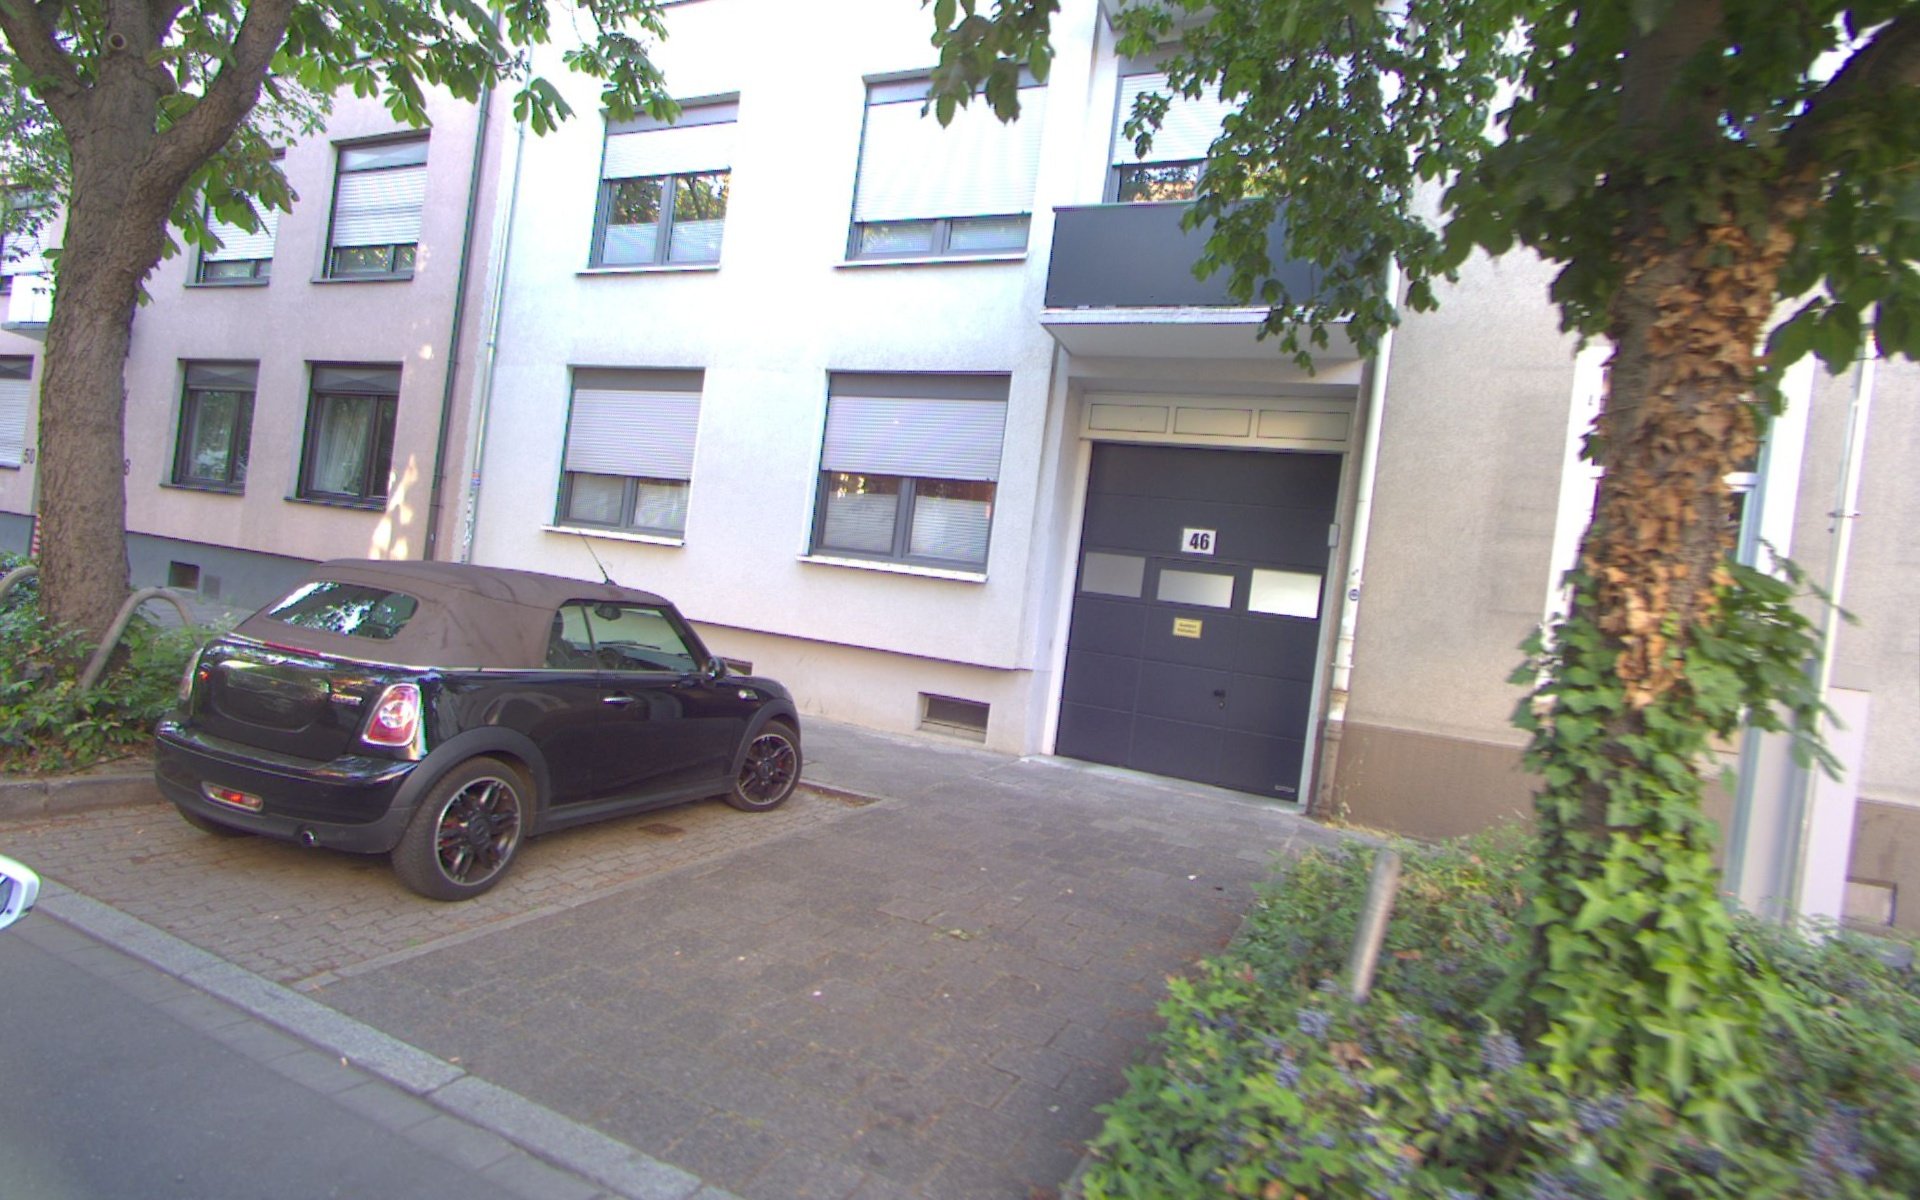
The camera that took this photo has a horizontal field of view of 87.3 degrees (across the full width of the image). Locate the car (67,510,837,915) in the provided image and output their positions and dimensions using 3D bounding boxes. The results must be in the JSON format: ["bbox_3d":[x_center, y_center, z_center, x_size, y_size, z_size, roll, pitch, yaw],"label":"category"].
[{"bbox_3d":[-2.364,0.508,5.715,1.634,1.380,3.622,7,-1,22],"label":"car"}]
